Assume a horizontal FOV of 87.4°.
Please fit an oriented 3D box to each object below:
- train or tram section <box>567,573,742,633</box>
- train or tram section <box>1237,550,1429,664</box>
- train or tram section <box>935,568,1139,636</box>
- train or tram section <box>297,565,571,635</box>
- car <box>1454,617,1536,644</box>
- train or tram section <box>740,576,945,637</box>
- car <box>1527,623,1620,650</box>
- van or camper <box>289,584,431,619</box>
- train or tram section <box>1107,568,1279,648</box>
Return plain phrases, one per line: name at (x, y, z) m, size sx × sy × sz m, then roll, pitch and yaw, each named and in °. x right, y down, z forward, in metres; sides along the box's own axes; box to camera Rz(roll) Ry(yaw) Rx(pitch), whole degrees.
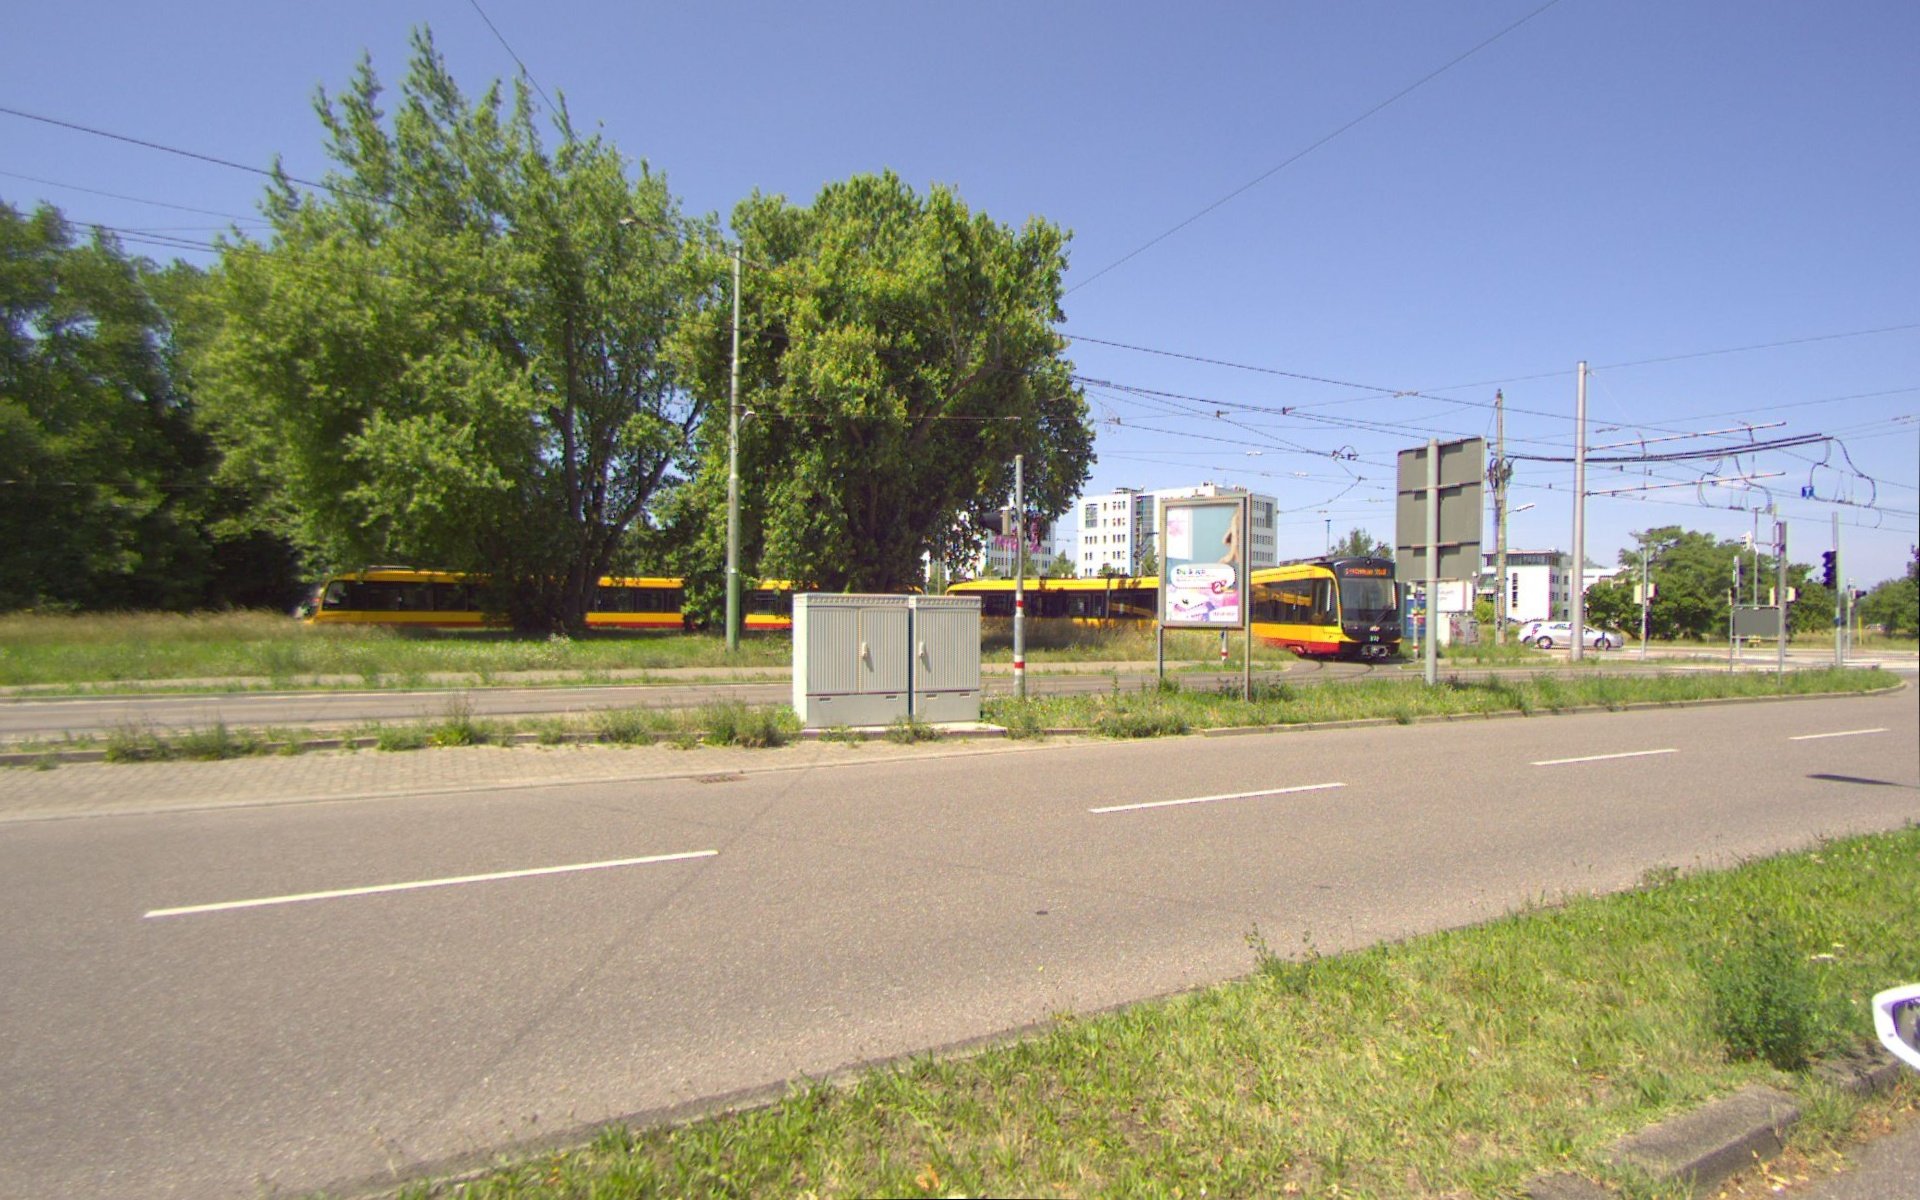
train or tram section at (-18.844, 0.207, 62.096) m, size 10.076 × 3.512 × 3.030 m, roll 1°, pitch 1°, yaw -22°
train or tram section at (13.455, 0.139, 37.982) m, size 2.985 × 3.512 × 13.295 m, roll 1°, pitch 1°, yaw 4°
train or tram section at (4.168, -0.011, 58.530) m, size 12.562 × 3.512 × 3.031 m, roll 2°, pitch 1°, yaw 41°
train or tram section at (-28.703, 0.045, 55.591) m, size 13.152 × 3.512 × 3.012 m, roll 1°, pitch 1°, yaw -39°
car at (31.879, 1.795, 59.858) m, size 4.205 × 1.431 × 1.895 m, roll 0°, pitch 0°, yaw 31°
train or tram section at (-7.362, 0.364, 63.922) m, size 12.495 × 3.512 × 3.047 m, roll 1°, pitch 1°, yaw 3°
car at (33.340, 1.955, 54.694) m, size 4.205 × 1.311 × 1.996 m, roll 0°, pitch 0°, yaw 31°
van or camper at (-36.968, 0.103, 62.118) m, size 1.972 × 2.041 × 7.316 m, roll 2°, pitch 1°, yaw 43°
train or tram section at (11.166, 0.269, 49.709) m, size 3.002 × 3.512 × 10.169 m, roll 1°, pitch 1°, yaw -22°
